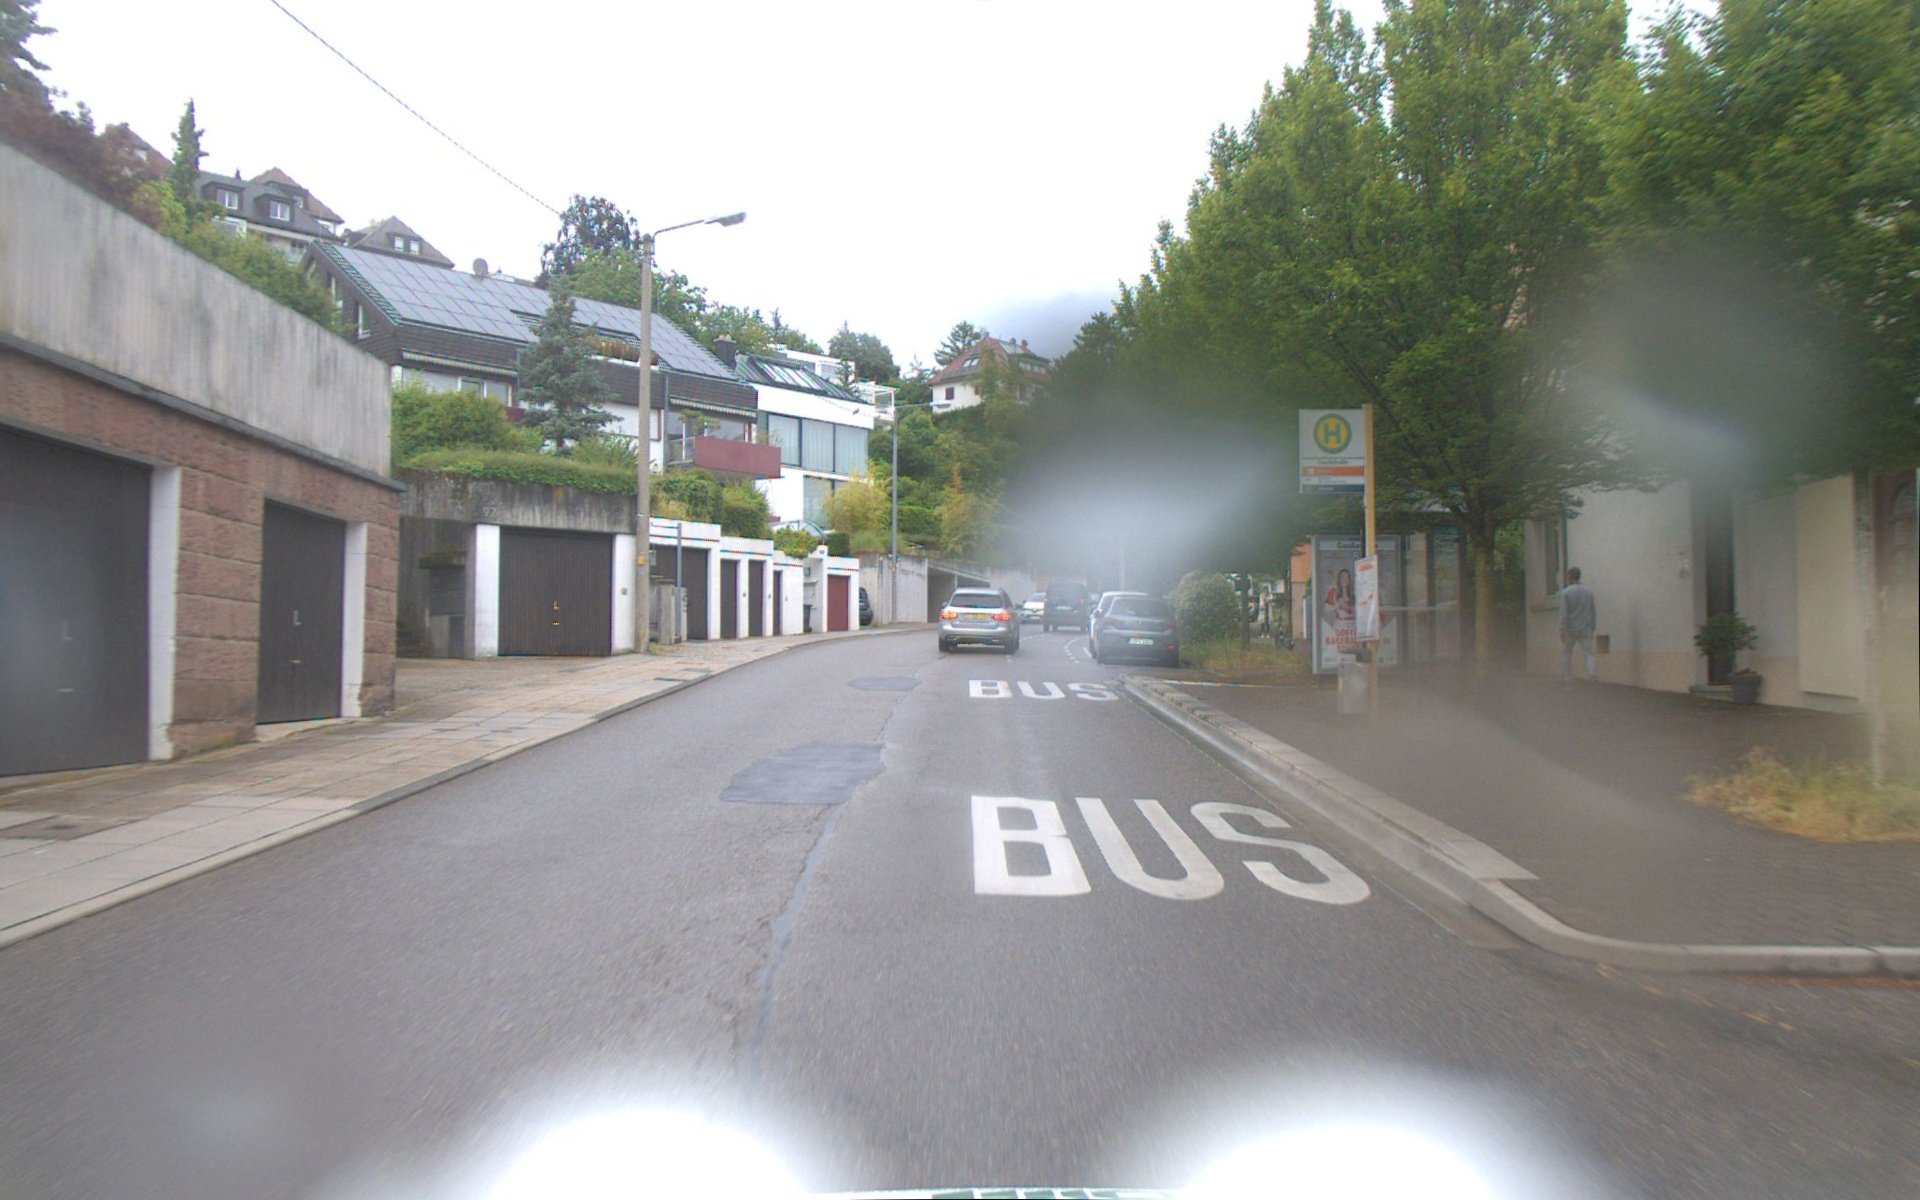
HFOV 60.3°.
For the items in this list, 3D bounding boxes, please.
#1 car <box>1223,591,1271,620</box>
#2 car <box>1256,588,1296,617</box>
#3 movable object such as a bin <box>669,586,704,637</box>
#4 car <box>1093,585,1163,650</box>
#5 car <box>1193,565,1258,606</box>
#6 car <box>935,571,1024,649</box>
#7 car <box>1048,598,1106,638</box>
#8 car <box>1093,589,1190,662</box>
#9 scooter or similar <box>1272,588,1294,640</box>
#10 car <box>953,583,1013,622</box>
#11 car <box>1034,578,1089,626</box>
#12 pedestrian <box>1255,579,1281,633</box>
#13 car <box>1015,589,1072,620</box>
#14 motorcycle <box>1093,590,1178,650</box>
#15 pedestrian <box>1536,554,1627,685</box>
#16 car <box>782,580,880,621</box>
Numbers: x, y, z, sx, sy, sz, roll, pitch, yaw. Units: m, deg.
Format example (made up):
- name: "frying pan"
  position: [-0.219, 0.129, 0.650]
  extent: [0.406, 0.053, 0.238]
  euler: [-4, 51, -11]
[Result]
- name: "car"
  position: [15.554, 0.268, 89.508]
  extent: [1.635, 1.496, 3.708]
  euler: [2, 1, 24]
- name: "car"
  position: [18.310, 0.128, 95.799]
  extent: [1.594, 1.590, 3.020]
  euler: [1, 1, 26]
- name: "movable object such as a bin"
  position: [-6.438, 0.272, 38.975]
  extent: [0.520, 1.166, 0.597]
  euler: [1, -1, 44]
- name: "car"
  position: [4.226, 0.410, 41.997]
  extent: [1.622, 1.515, 4.002]
  euler: [2, 1, 4]
- name: "car"
  position: [17.538, -0.955, 108.978]
  extent: [2.056, 2.594, 6.083]
  euler: [-1, 1, 31]
- name: "car"
  position: [0.455, 0.211, 39.124]
  extent: [1.983, 1.738, 4.216]
  euler: [0, 0, 0]
- name: "car"
  position: [5.331, 0.773, 75.005]
  extent: [1.951, 1.738, 4.003]
  euler: [0, 0, 14]
- name: "car"
  position: [3.881, 0.506, 35.917]
  extent: [1.839, 1.441, 4.470]
  euler: [1, 1, 3]
- name: "scooter or similar"
  position: [8.046, 0.348, 41.213]
  extent: [0.404, 1.267, 1.176]
  euler: [0, 0, 4]
- name: "car"
  position: [0.978, 0.085, 67.874]
  extent: [1.592, 1.542, 3.835]
  euler: [0, 0, 14]
- name: "car"
  position: [3.884, 0.053, 62.758]
  extent: [1.951, 1.738, 4.002]
  euler: [0, 0, 5]
- name: "pedestrian"
  position: [10.203, 0.196, 54.746]
  extent: [0.744, 1.750, 0.903]
  euler: [-3, 0, 9]
- name: "car"
  position: [4.041, 0.202, 79.321]
  extent: [1.793, 1.465, 4.042]
  euler: [-1, 0, 17]
- name: "motorcycle"
  position: [4.145, 0.467, 39.171]
  extent: [1.874, 1.353, 0.787]
  euler: [2, 1, -1]
- name: "pedestrian"
  position: [8.522, 0.256, 22.727]
  extent: [0.815, 1.715, 1.045]
  euler: [-3, 0, 2]
- name: "car"
  position: [-5.182, 0.006, 66.230]
  extent: [3.862, 1.504, 1.757]
  euler: [3, 1, 42]
